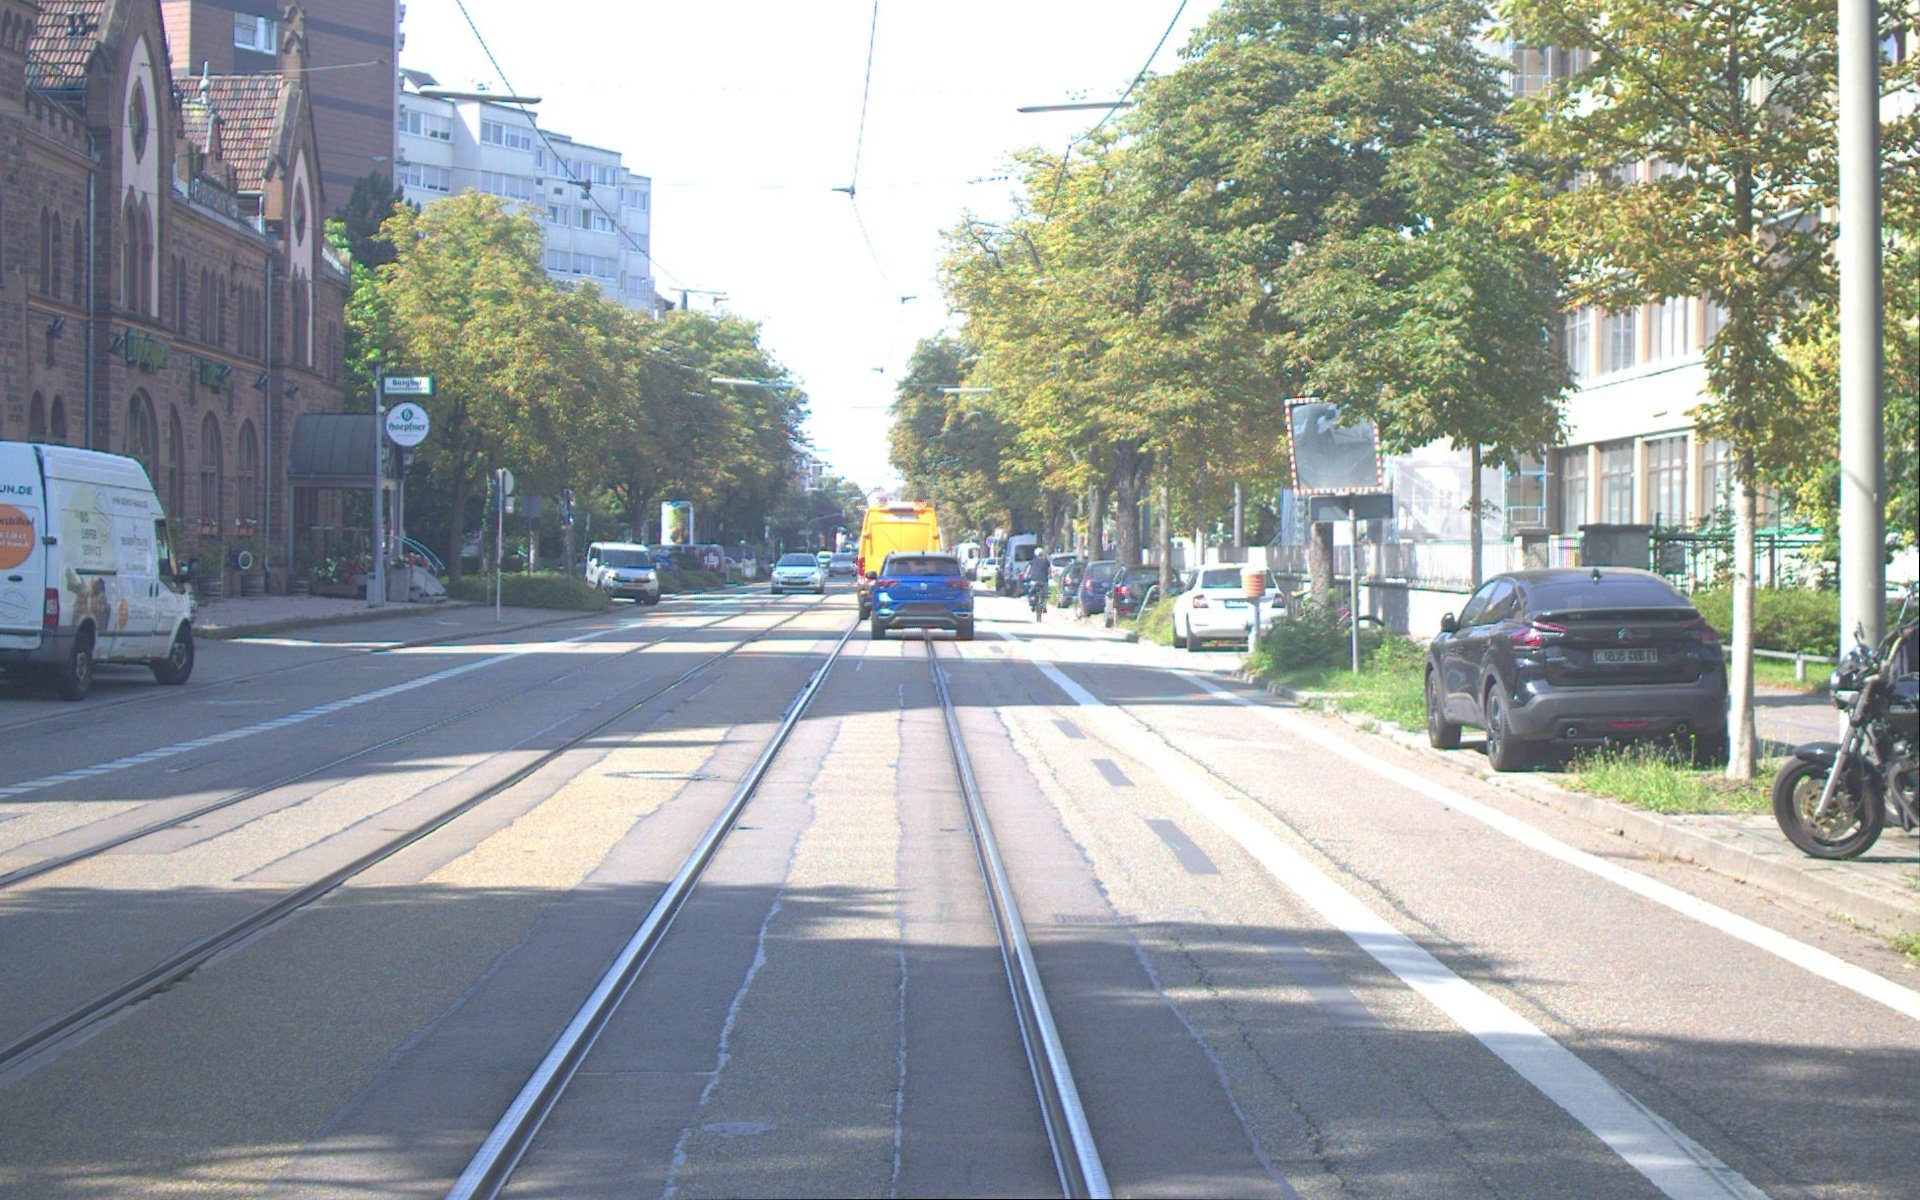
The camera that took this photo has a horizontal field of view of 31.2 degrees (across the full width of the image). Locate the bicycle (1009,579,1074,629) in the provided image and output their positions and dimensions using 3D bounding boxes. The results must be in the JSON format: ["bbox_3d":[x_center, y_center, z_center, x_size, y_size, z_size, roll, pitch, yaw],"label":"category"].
[{"bbox_3d":[1.933,0.071,82.295,1.401,1.130,4.000,1,1,-1],"label":"bicycle"}]

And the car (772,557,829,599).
[{"bbox_3d":[-5.911,-0.845,127.813,1.847,1.486,4.867,1,1,0],"label":"car"}]

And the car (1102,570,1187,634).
[{"bbox_3d":[4.116,0.031,77.050,1.659,1.403,4.217,0,0,0],"label":"car"}]

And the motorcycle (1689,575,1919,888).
[{"bbox_3d":[4.963,0.654,17.124,2.452,1.511,0.851,2,1,38],"label":"motorcycle"}]

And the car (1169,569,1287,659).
[{"bbox_3d":[4.543,0.215,58.670,1.659,1.476,4.217,0,0,0],"label":"car"}]

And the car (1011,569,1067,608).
[{"bbox_3d":[3.032,-0.450,132.309,1.908,1.427,4.293,1,1,-2],"label":"car"}]

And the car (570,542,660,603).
[{"bbox_3d":[-10.605,-0.852,105.405,1.746,1.790,4.001,1,1,-20],"label":"car"}]

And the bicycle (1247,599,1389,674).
[{"bbox_3d":[4.771,0.481,45.913,1.812,0.955,0.558,1,1,-1],"label":"bicycle"}]

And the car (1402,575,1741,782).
[{"bbox_3d":[4.833,0.563,27.790,1.755,1.510,4.610,0,1,-2],"label":"car"}]

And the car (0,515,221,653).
[{"bbox_3d":[-12.819,-0.279,48.780,4.136,1.737,2.000,4,1,0],"label":"car"}]

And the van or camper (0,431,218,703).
[{"bbox_3d":[-9.733,-0.373,36.973,2.113,2.666,5.955,1,1,1],"label":"van or camper"}]

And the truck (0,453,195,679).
[{"bbox_3d":[-12.784,-0.578,41.799,6.321,2.529,2.130,4,2,4],"label":"truck"}]

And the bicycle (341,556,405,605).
[{"bbox_3d":[-14.475,-0.484,84.753,1.451,1.089,0.399,4,0,-5],"label":"bicycle"}]

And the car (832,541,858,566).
[{"bbox_3d":[-7.898,-3.163,236.355,1.780,1.678,4.347,1,1,-2],"label":"car"}]

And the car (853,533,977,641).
[{"bbox_3d":[-0.801,-0.251,61.808,2.135,1.852,5.568,0,1,-1],"label":"car"}]

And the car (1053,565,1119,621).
[{"bbox_3d":[3.696,-0.220,101.697,1.633,1.579,4.189,1,1,-2],"label":"car"}]

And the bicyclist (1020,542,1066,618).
[{"bbox_3d":[1.978,-0.482,82.285,1.031,1.806,1.016,1,1,-1],"label":"bicyclist"}]

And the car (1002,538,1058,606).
[{"bbox_3d":[2.879,-1.171,142.896,1.993,2.746,5.762,1,1,-2],"label":"car"}]

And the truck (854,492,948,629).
[{"bbox_3d":[-1.378,-0.942,81.273,2.135,3.114,6.085,0,1,-1],"label":"truck"}]

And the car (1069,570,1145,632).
[{"bbox_3d":[3.761,0.010,88.599,1.743,1.550,4.217,0,0,0],"label":"car"}]

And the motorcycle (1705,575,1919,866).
[{"bbox_3d":[5.204,0.639,18.826,0.850,1.511,2.456,1,1,-25],"label":"motorcycle"}]
